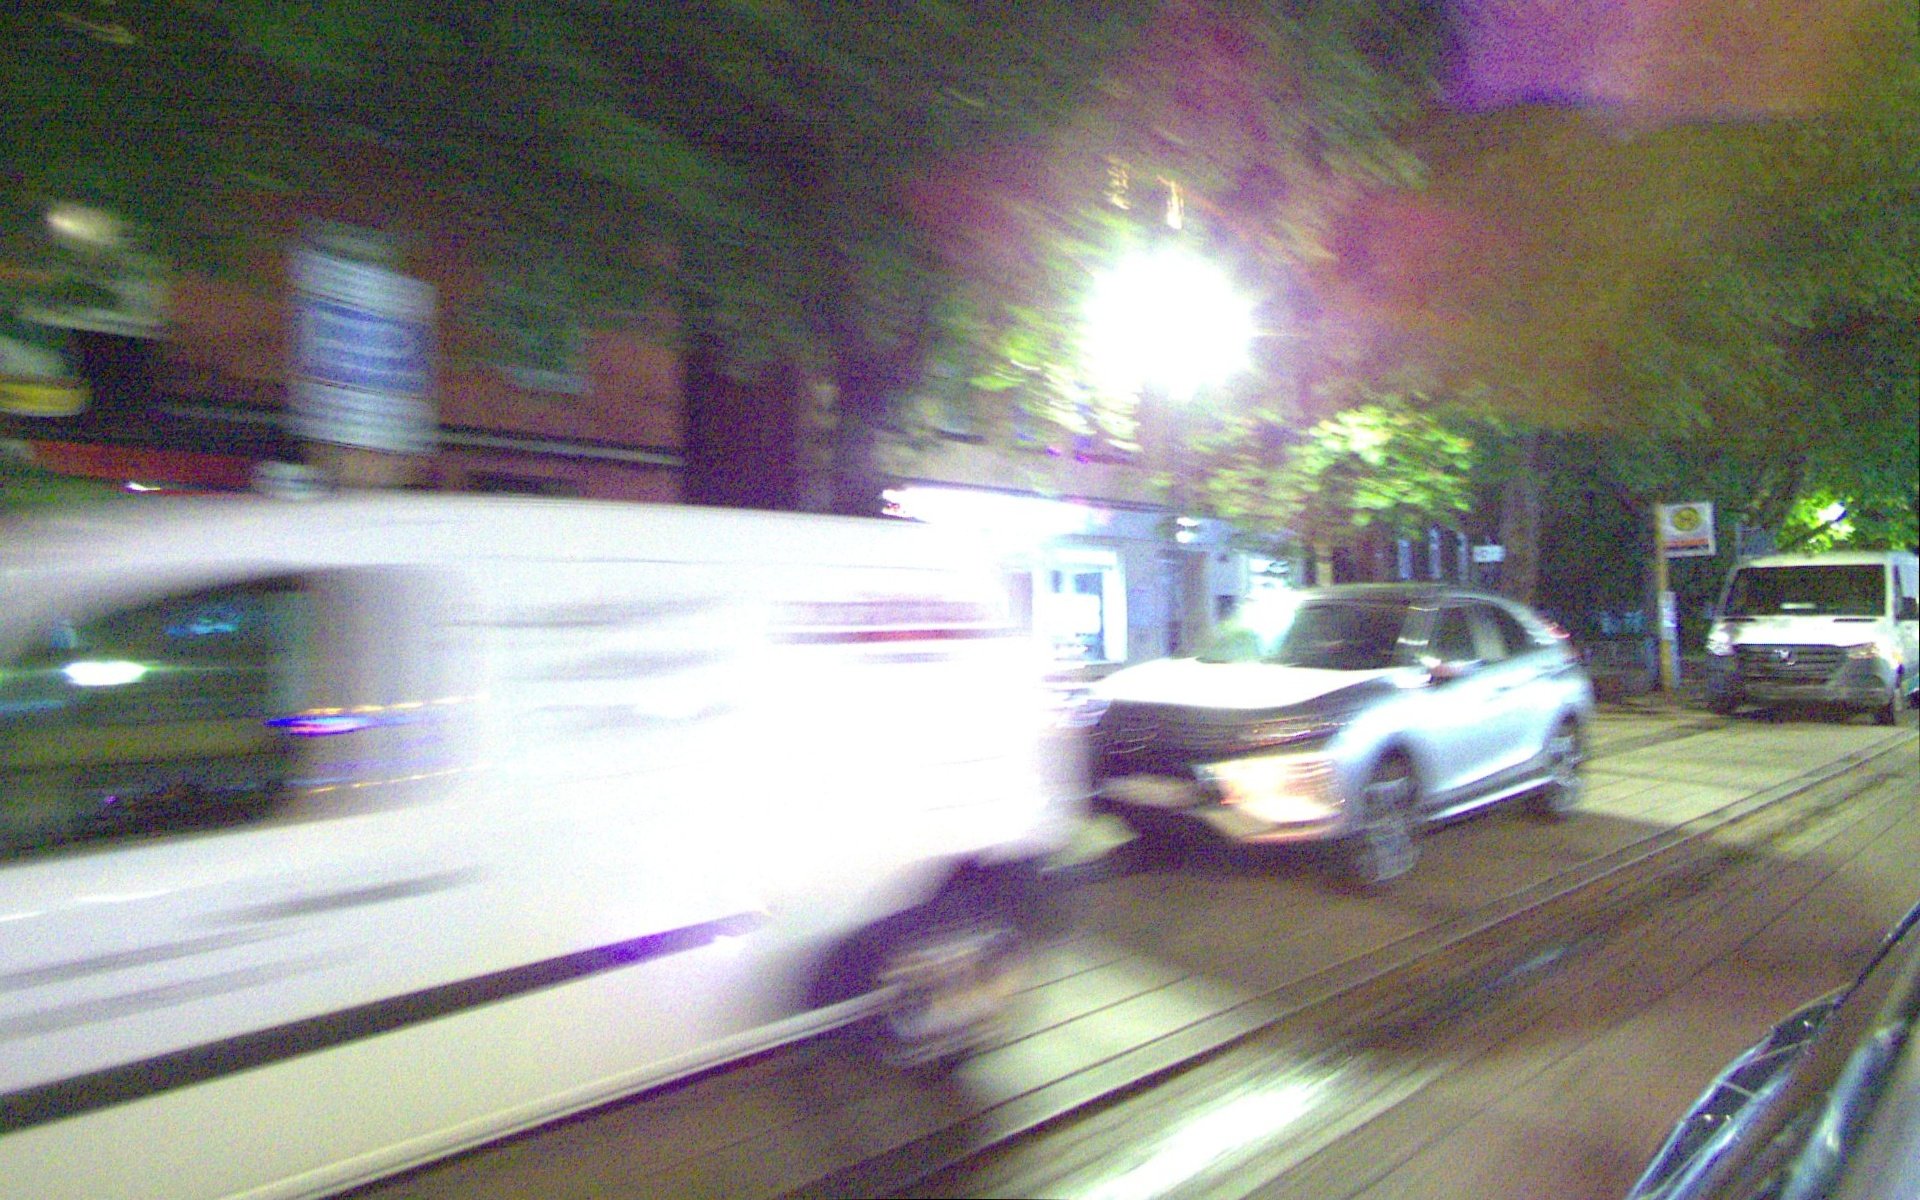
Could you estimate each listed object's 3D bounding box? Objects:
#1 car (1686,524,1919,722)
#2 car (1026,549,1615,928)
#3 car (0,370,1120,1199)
[{"bbox_3d":[12.435,0.303,14.519,5.062,2.356,2.137,0,-2,-41],"label":"car"},{"bbox_3d":[2.529,0.637,6.529,4.221,1.681,1.686,0,-2,-41],"label":"car"},{"bbox_3d":[-1.740,0.544,2.841,4.498,1.845,1.792,0,-2,-40],"label":"car"}]
